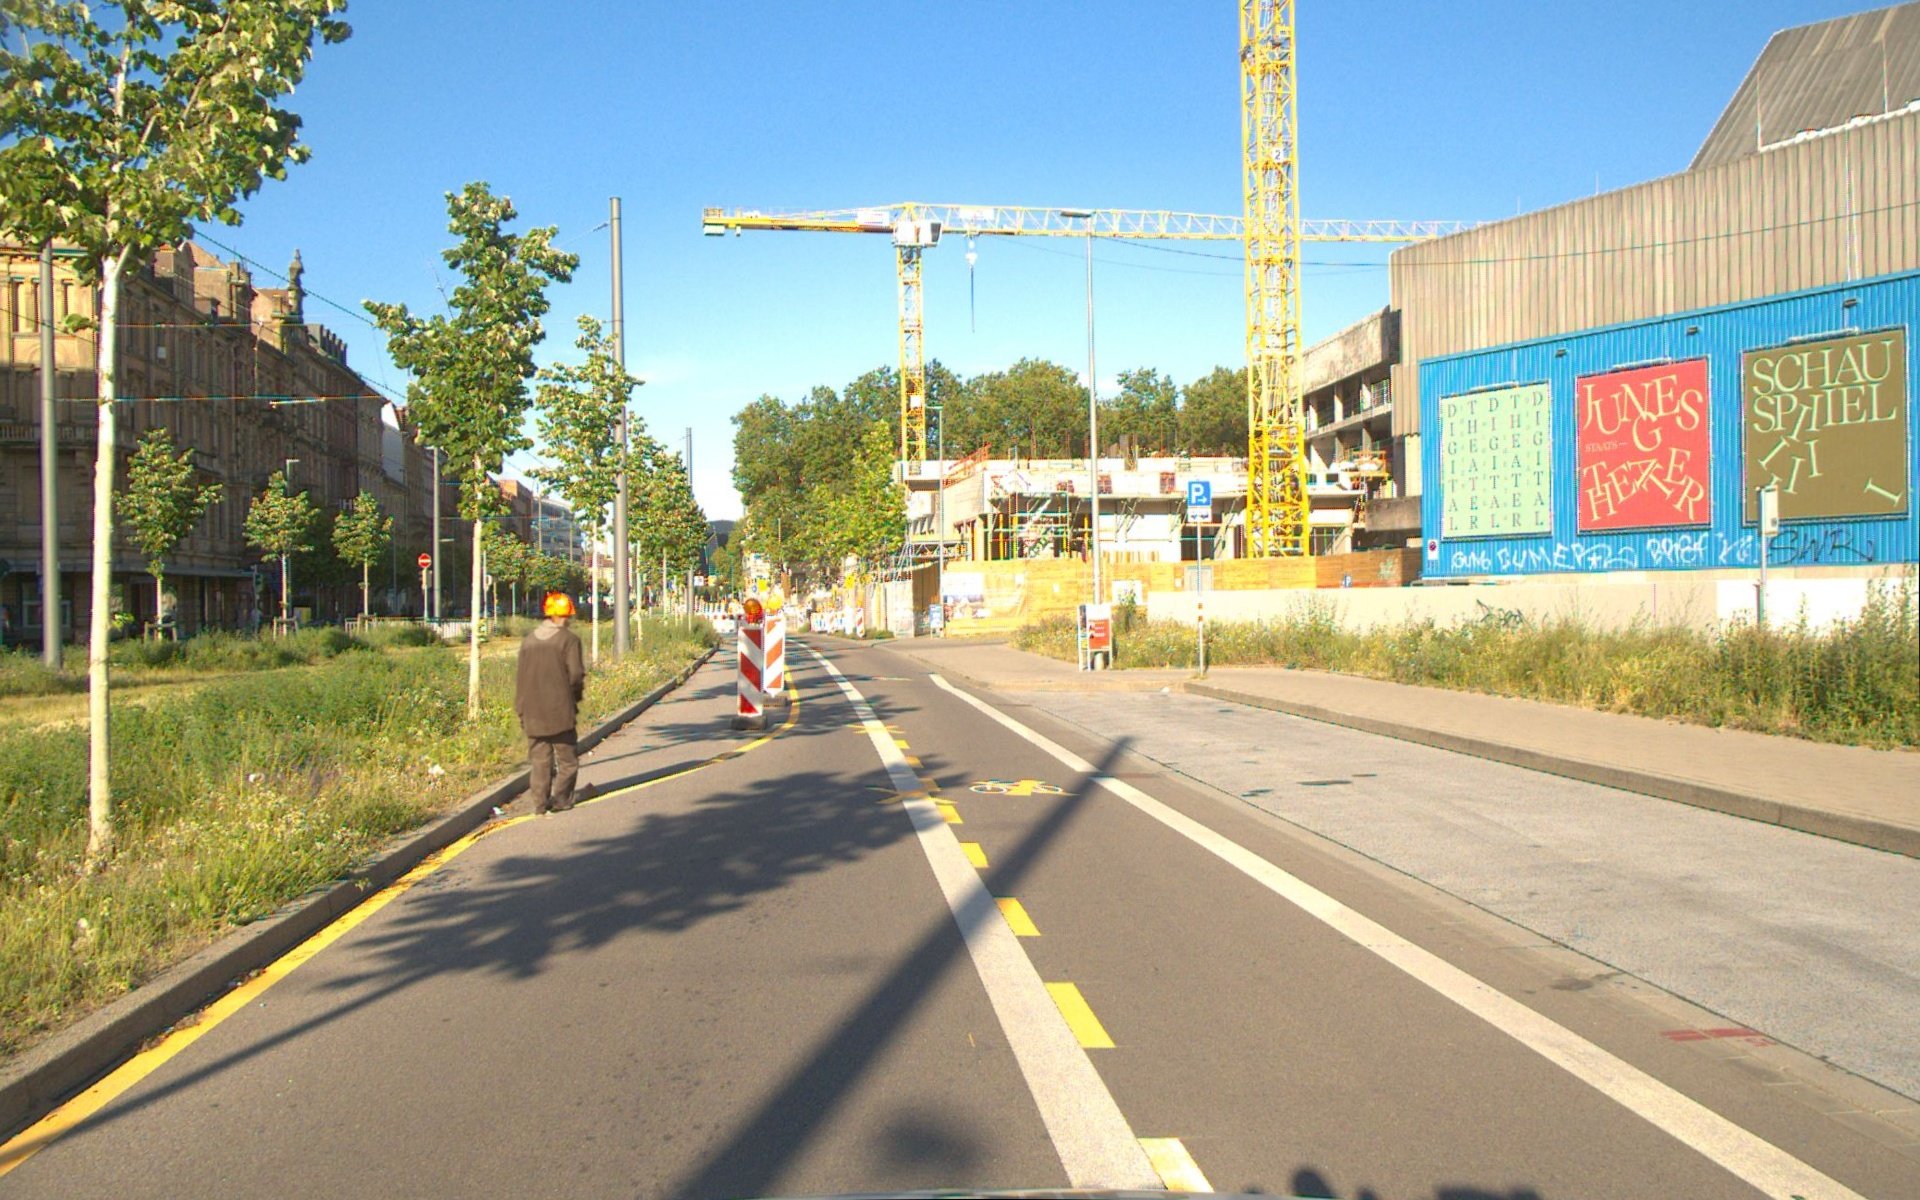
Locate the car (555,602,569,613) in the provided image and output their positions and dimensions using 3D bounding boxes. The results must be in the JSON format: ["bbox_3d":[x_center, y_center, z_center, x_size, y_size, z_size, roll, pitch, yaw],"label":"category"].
[{"bbox_3d":[-53.764,1.037,223.337,1.565,1.509,3.615,-1,0,-9],"label":"car"}]

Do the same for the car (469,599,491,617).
[{"bbox_3d":[-44.219,0.696,152.470,1.538,1.590,4.702,-1,0,-11],"label":"car"}]

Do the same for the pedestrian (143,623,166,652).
[{"bbox_3d":[-36.549,1.688,75.060,0.677,1.268,0.927,-1,0,-9],"label":"pedestrian"}]

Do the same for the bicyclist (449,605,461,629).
[{"bbox_3d":[-35.539,1.209,116.345,0.682,1.686,0.880,-1,0,-10],"label":"bicyclist"}]

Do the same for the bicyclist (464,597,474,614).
[{"bbox_3d":[-37.491,0.408,126.316,0.625,1.261,0.737,-1,0,-10],"label":"bicyclist"}]

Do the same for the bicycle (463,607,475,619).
[{"bbox_3d":[-37.505,0.970,126.403,0.625,0.873,2.027,-1,0,-9],"label":"bicycle"}]

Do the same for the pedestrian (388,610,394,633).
[{"bbox_3d":[-44.291,1.685,128.773,0.360,1.795,0.405,1,-1,-11],"label":"pedestrian"}]

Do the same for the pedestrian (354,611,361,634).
[{"bbox_3d":[-42.635,1.594,117.045,0.396,1.612,0.424,1,-1,-11],"label":"pedestrian"}]

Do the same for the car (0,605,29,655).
[{"bbox_3d":[-39.598,1.221,65.396,4.435,1.936,1.891,-1,0,-15],"label":"car"}]

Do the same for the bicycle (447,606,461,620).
[{"bbox_3d":[-35.472,0.912,115.875,0.682,0.995,1.823,-1,0,-9],"label":"bicycle"}]

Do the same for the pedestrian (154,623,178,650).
[{"bbox_3d":[-36.944,1.684,76.970,0.776,1.229,0.927,-1,0,-10],"label":"pedestrian"}]

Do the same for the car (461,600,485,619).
[{"bbox_3d":[-42.399,0.779,144.021,1.538,1.590,4.702,-1,0,-11],"label":"car"}]
